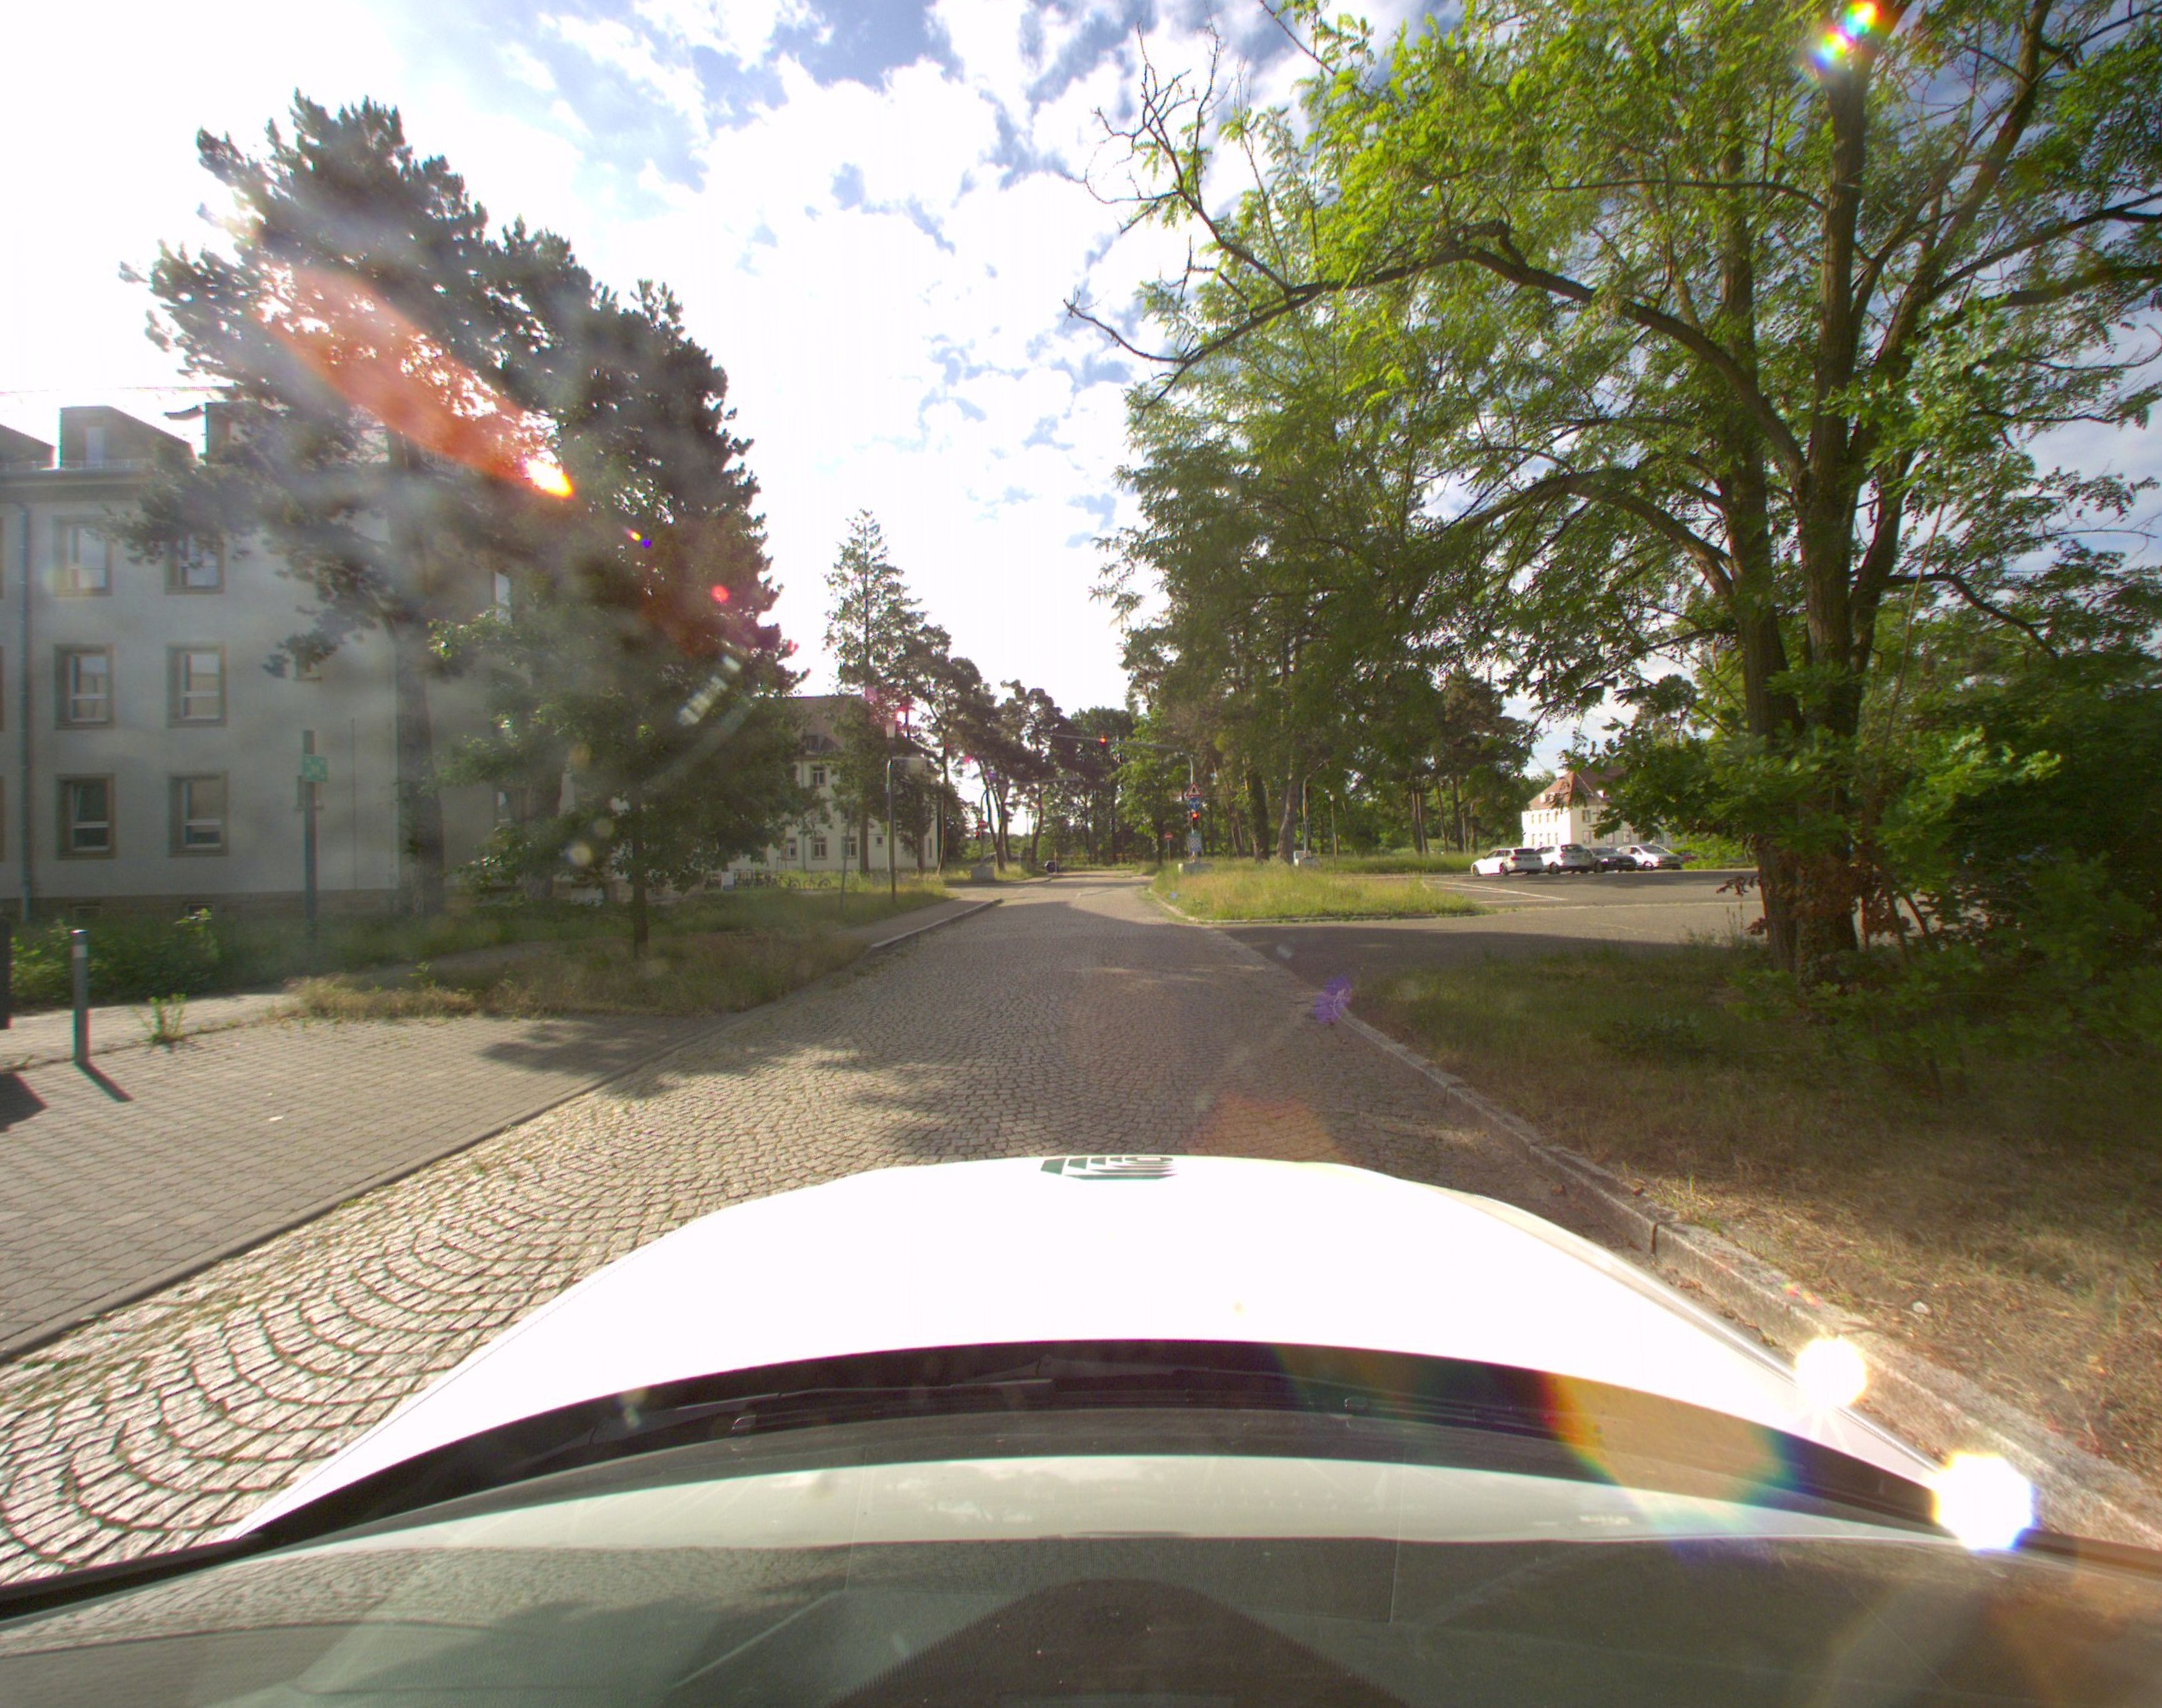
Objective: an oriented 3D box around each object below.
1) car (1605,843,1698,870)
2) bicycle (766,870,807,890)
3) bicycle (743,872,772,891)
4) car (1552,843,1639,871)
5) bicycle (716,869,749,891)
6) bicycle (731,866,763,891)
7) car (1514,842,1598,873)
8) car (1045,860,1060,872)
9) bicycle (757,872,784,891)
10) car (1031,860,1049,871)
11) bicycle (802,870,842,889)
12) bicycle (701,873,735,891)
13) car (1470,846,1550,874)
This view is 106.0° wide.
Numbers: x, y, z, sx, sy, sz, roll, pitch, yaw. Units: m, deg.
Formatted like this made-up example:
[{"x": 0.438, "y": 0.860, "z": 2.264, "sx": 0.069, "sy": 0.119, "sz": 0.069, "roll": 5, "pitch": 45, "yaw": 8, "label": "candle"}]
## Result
[{"x": 30.056, "y": 0.156, "z": 43.093, "sx": 1.726, "sy": 1.312, "sz": 4.328, "roll": -2, "pitch": 0, "yaw": -2, "label": "car"}, {"x": -17.628, "y": 1.541, "z": 48.765, "sx": 2.112, "sy": 1.108, "sz": 0.828, "roll": -2, "pitch": -1, "yaw": -3, "label": "bicycle"}, {"x": -19.833, "y": 1.688, "z": 49.988, "sx": 0.823, "sy": 1.047, "sz": 2.124, "roll": -2, "pitch": 0, "yaw": 1, "label": "bicycle"}, {"x": 26.994, "y": 0.174, "z": 42.922, "sx": 1.726, "sy": 1.312, "sz": 4.328, "roll": -3, "pitch": 0, "yaw": -2, "label": "car"}, {"x": -21.397, "y": 1.577, "z": 50.041, "sx": 0.823, "sy": 1.281, "sz": 2.554, "roll": -2, "pitch": 0, "yaw": 1, "label": "bicycle"}, {"x": -20.621, "y": 1.485, "z": 50.337, "sx": 0.823, "sy": 1.437, "sz": 2.554, "roll": -2, "pitch": 0, "yaw": 1, "label": "bicycle"}, {"x": 24.702, "y": 0.201, "z": 42.549, "sx": 1.726, "sy": 1.476, "sz": 4.328, "roll": -2, "pitch": 0, "yaw": -2, "label": "car"}, {"x": -3.665, "y": 1.497, "z": 106.220, "sx": 1.840, "sy": 1.486, "sz": 3.998, "roll": -2, "pitch": 0, "yaw": -1, "label": "car"}, {"x": -19.052, "y": 1.686, "z": 50.026, "sx": 0.823, "sy": 1.047, "sz": 2.124, "roll": -2, "pitch": 0, "yaw": 1, "label": "bicycle"}, {"x": -5.578, "y": 1.557, "z": 110.989, "sx": 1.772, "sy": 1.490, "sz": 3.764, "roll": -2, "pitch": 0, "yaw": 8, "label": "car"}, {"x": -15.506, "y": 1.532, "z": 48.844, "sx": 2.112, "sy": 1.047, "sz": 0.828, "roll": -2, "pitch": -1, "yaw": -3, "label": "bicycle"}, {"x": -22.294, "y": 1.697, "z": 50.046, "sx": 0.897, "sy": 1.047, "sz": 2.554, "roll": -2, "pitch": 0, "yaw": 1, "label": "bicycle"}, {"x": 22.183, "y": 0.296, "z": 42.260, "sx": 1.726, "sy": 1.312, "sz": 4.328, "roll": -2, "pitch": 0, "yaw": -2, "label": "car"}]
